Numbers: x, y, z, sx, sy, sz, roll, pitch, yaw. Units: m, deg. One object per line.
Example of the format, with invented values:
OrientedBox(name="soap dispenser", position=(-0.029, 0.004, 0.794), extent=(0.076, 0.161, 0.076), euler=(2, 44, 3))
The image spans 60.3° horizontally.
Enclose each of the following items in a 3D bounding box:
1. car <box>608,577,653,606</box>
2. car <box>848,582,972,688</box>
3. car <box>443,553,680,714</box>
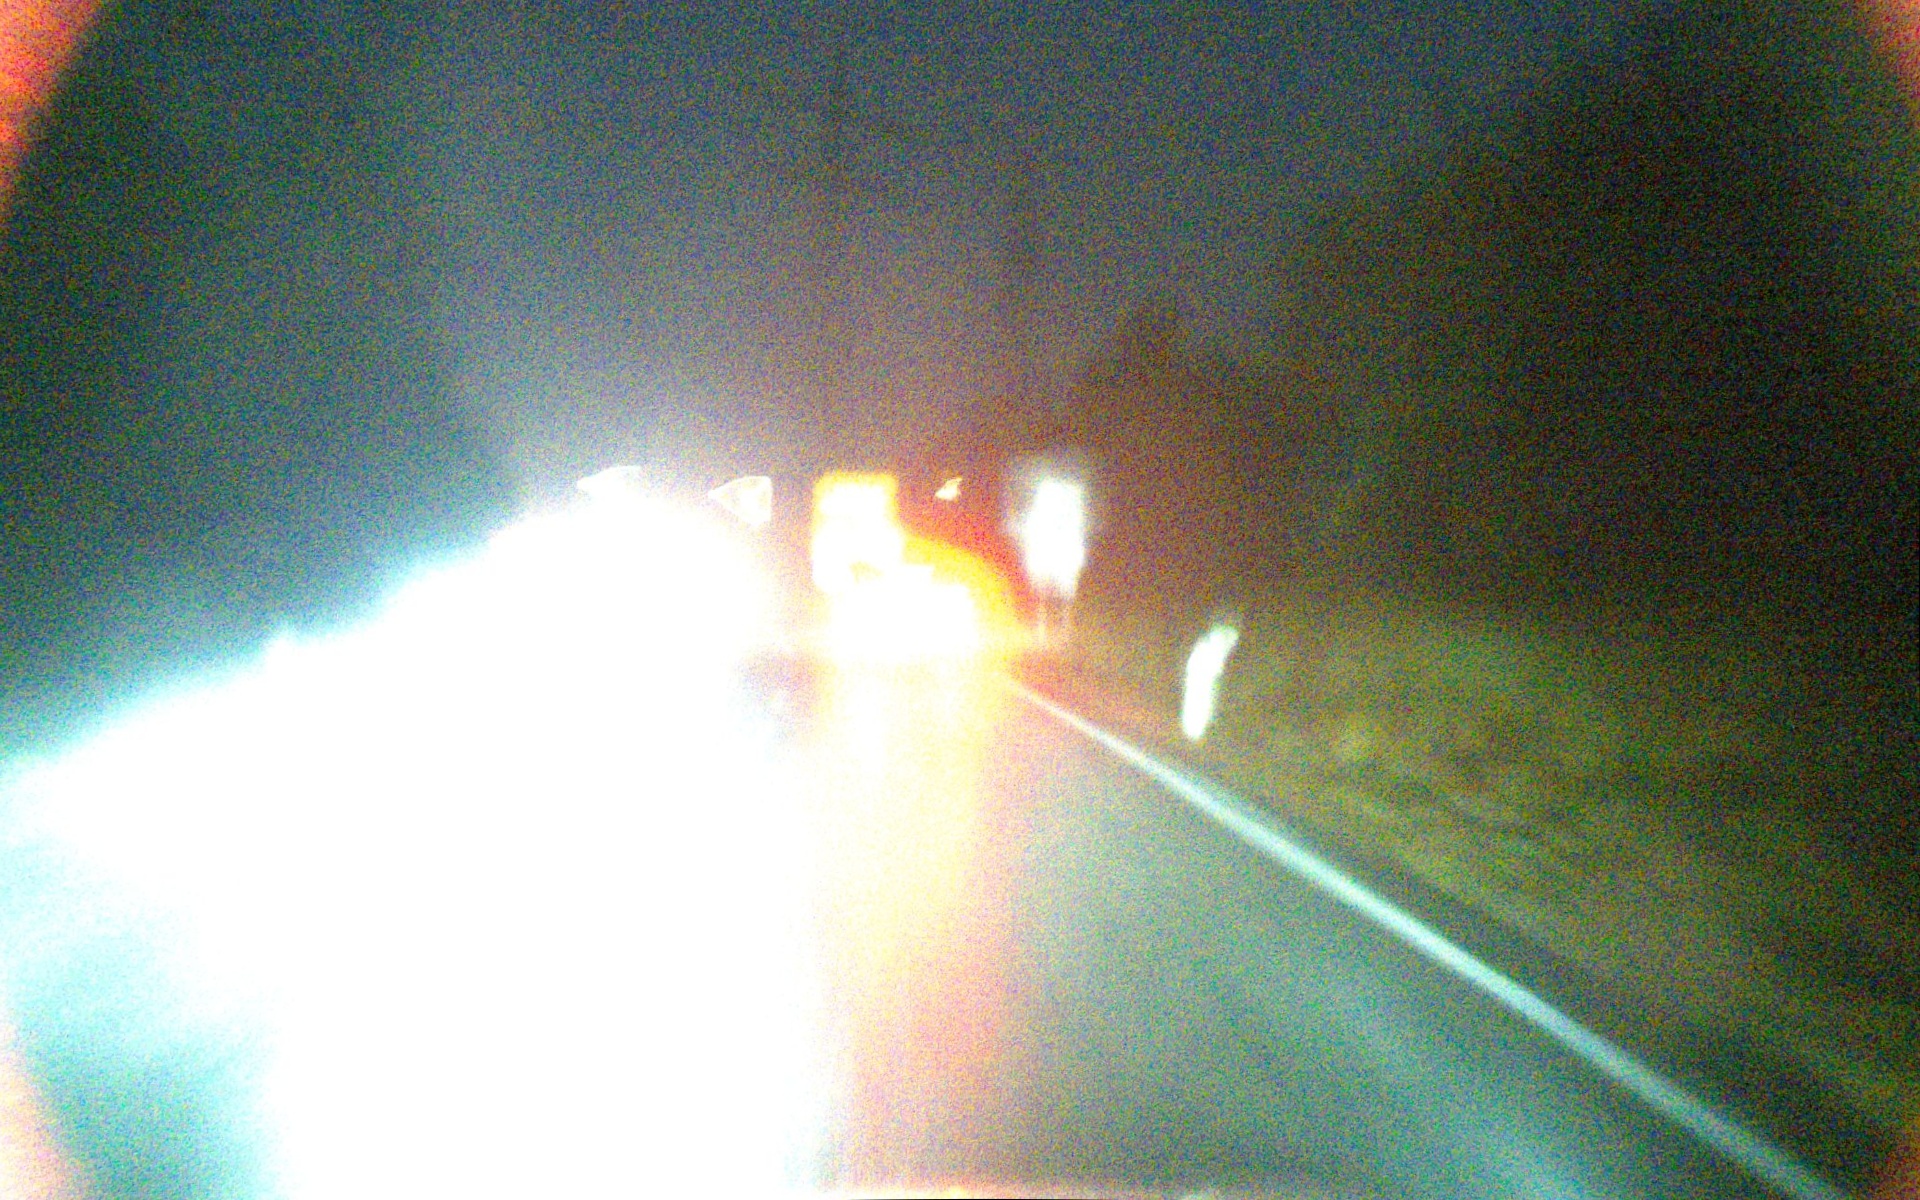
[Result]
OrientedBox(name="car", position=(-18.054, -0.481, 90.605), extent=(1.746, 1.509, 4.354), euler=(0, 1, -20))
OrientedBox(name="car", position=(-0.947, 0.530, 28.904), extent=(1.954, 1.656, 4.981), euler=(1, 1, -4))
OrientedBox(name="car", position=(-4.868, 0.360, 20.953), extent=(1.954, 1.738, 4.982), euler=(-2, 0, -3))
